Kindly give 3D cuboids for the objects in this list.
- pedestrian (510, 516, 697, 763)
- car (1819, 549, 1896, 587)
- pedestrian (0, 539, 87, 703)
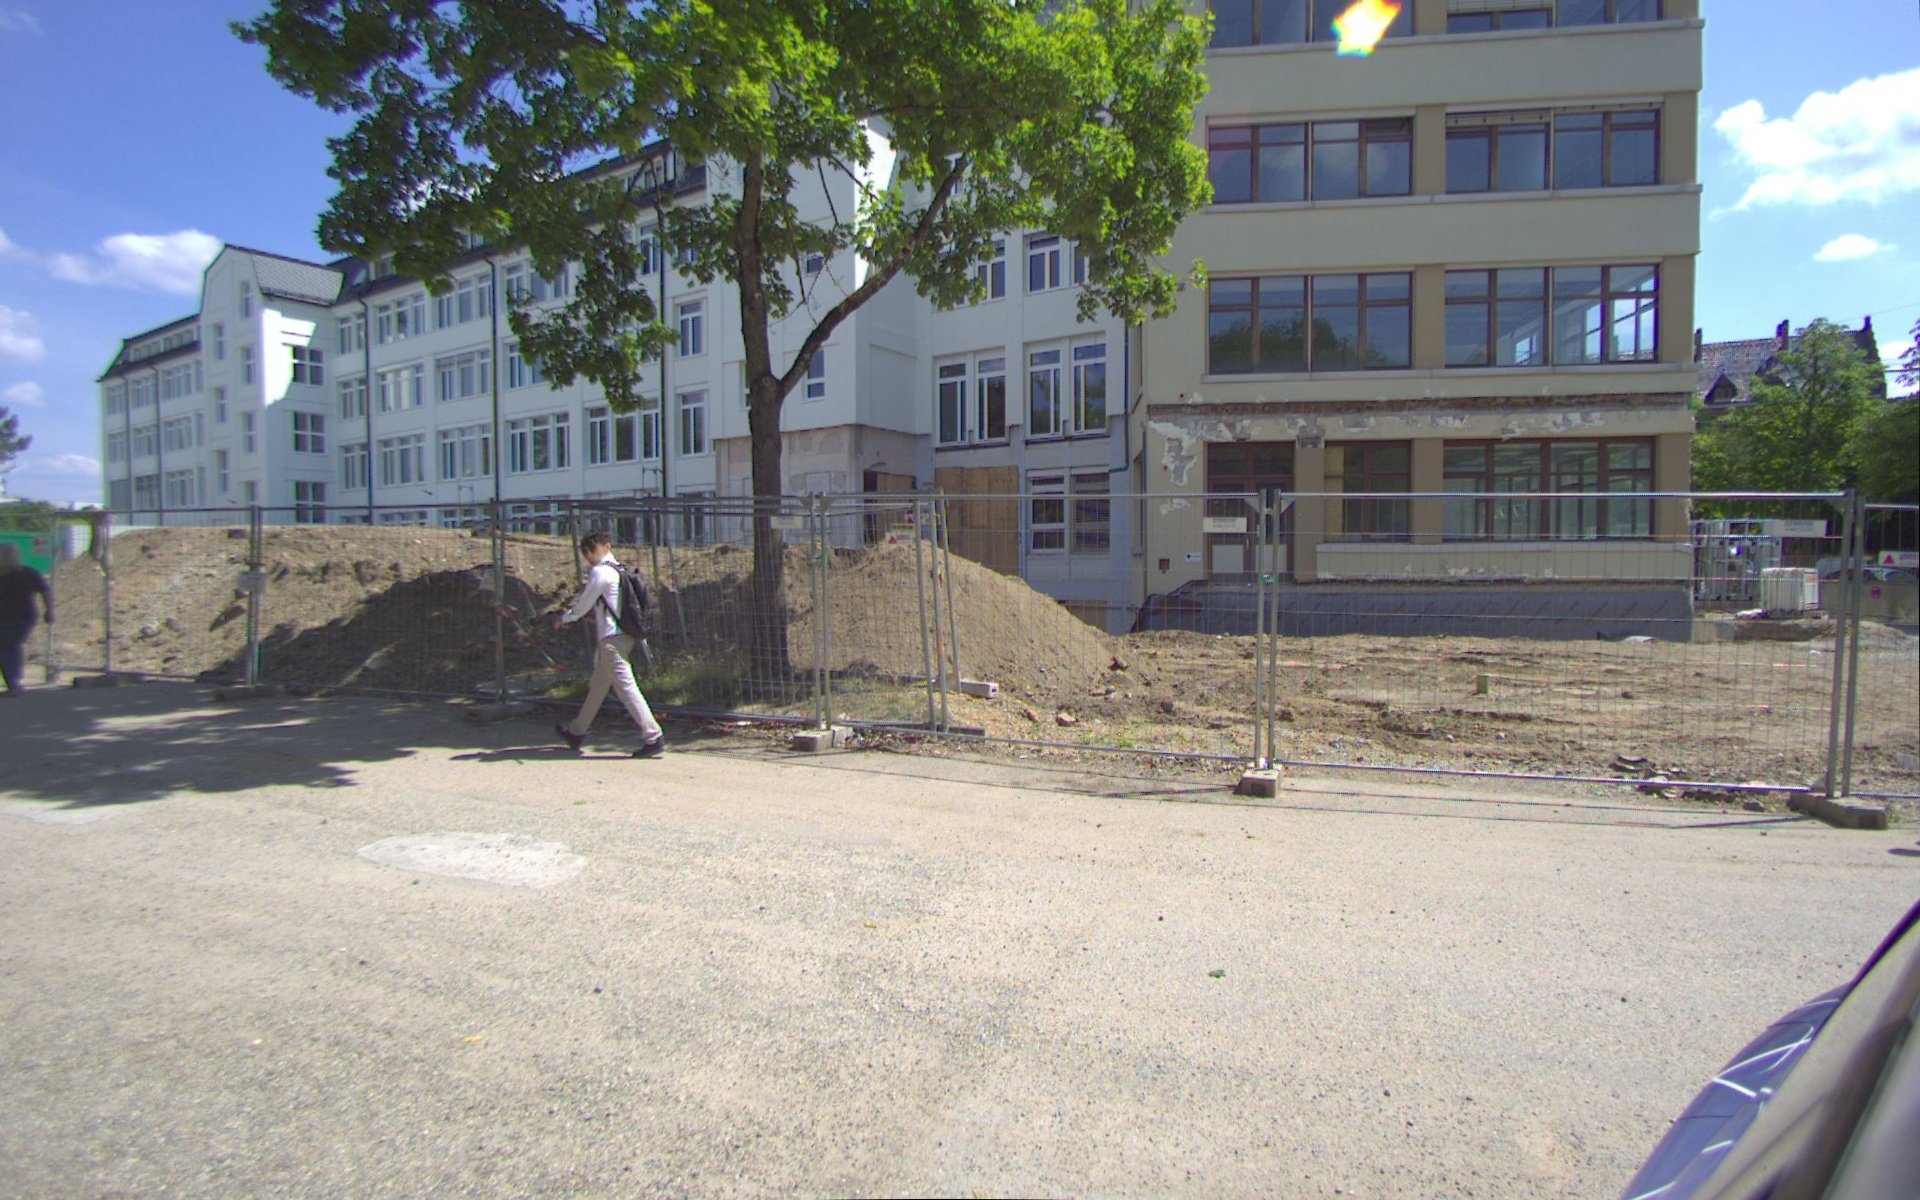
[{"bbox_3d":[-2.726,0.260,7.791,1.068,1.751,0.870,1,2,24],"label":"pedestrian"},{"bbox_3d":[49.742,-1.779,56.073,3.920,2.038,2.003,-1,2,-29],"label":"car"},{"bbox_3d":[-10.191,0.196,10.752,1.037,1.670,1.031,1,2,23],"label":"pedestrian"}]
